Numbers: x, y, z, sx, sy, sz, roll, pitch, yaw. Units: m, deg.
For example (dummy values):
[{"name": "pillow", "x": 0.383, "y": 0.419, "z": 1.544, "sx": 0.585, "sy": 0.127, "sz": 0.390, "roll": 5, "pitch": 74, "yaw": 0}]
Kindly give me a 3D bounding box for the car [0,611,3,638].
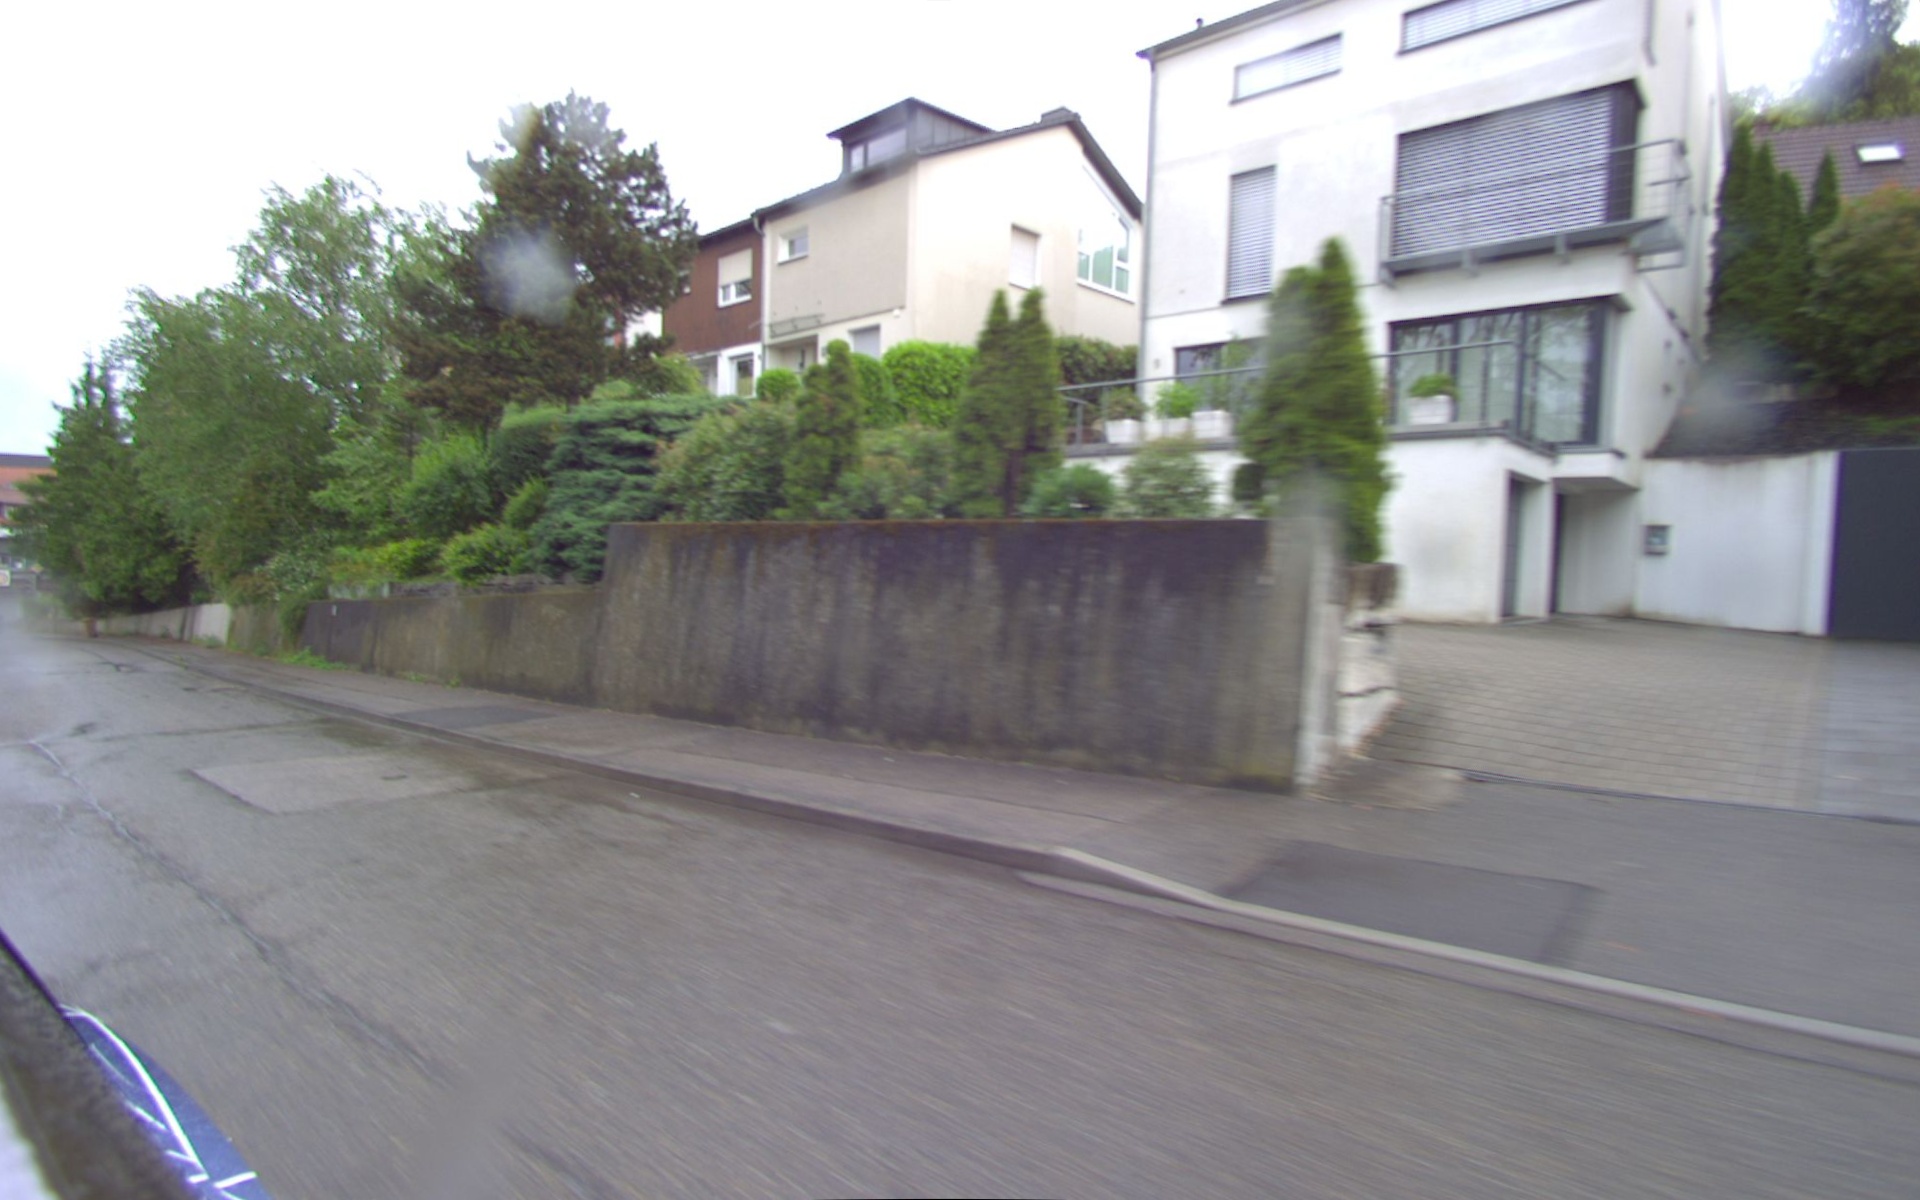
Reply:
[{"name": "car", "x": -55.033, "y": 1.391, "z": 56.437, "sx": 3.986, "sy": 1.511, "sz": 1.739, "roll": -1, "pitch": 1, "yaw": 37}]
